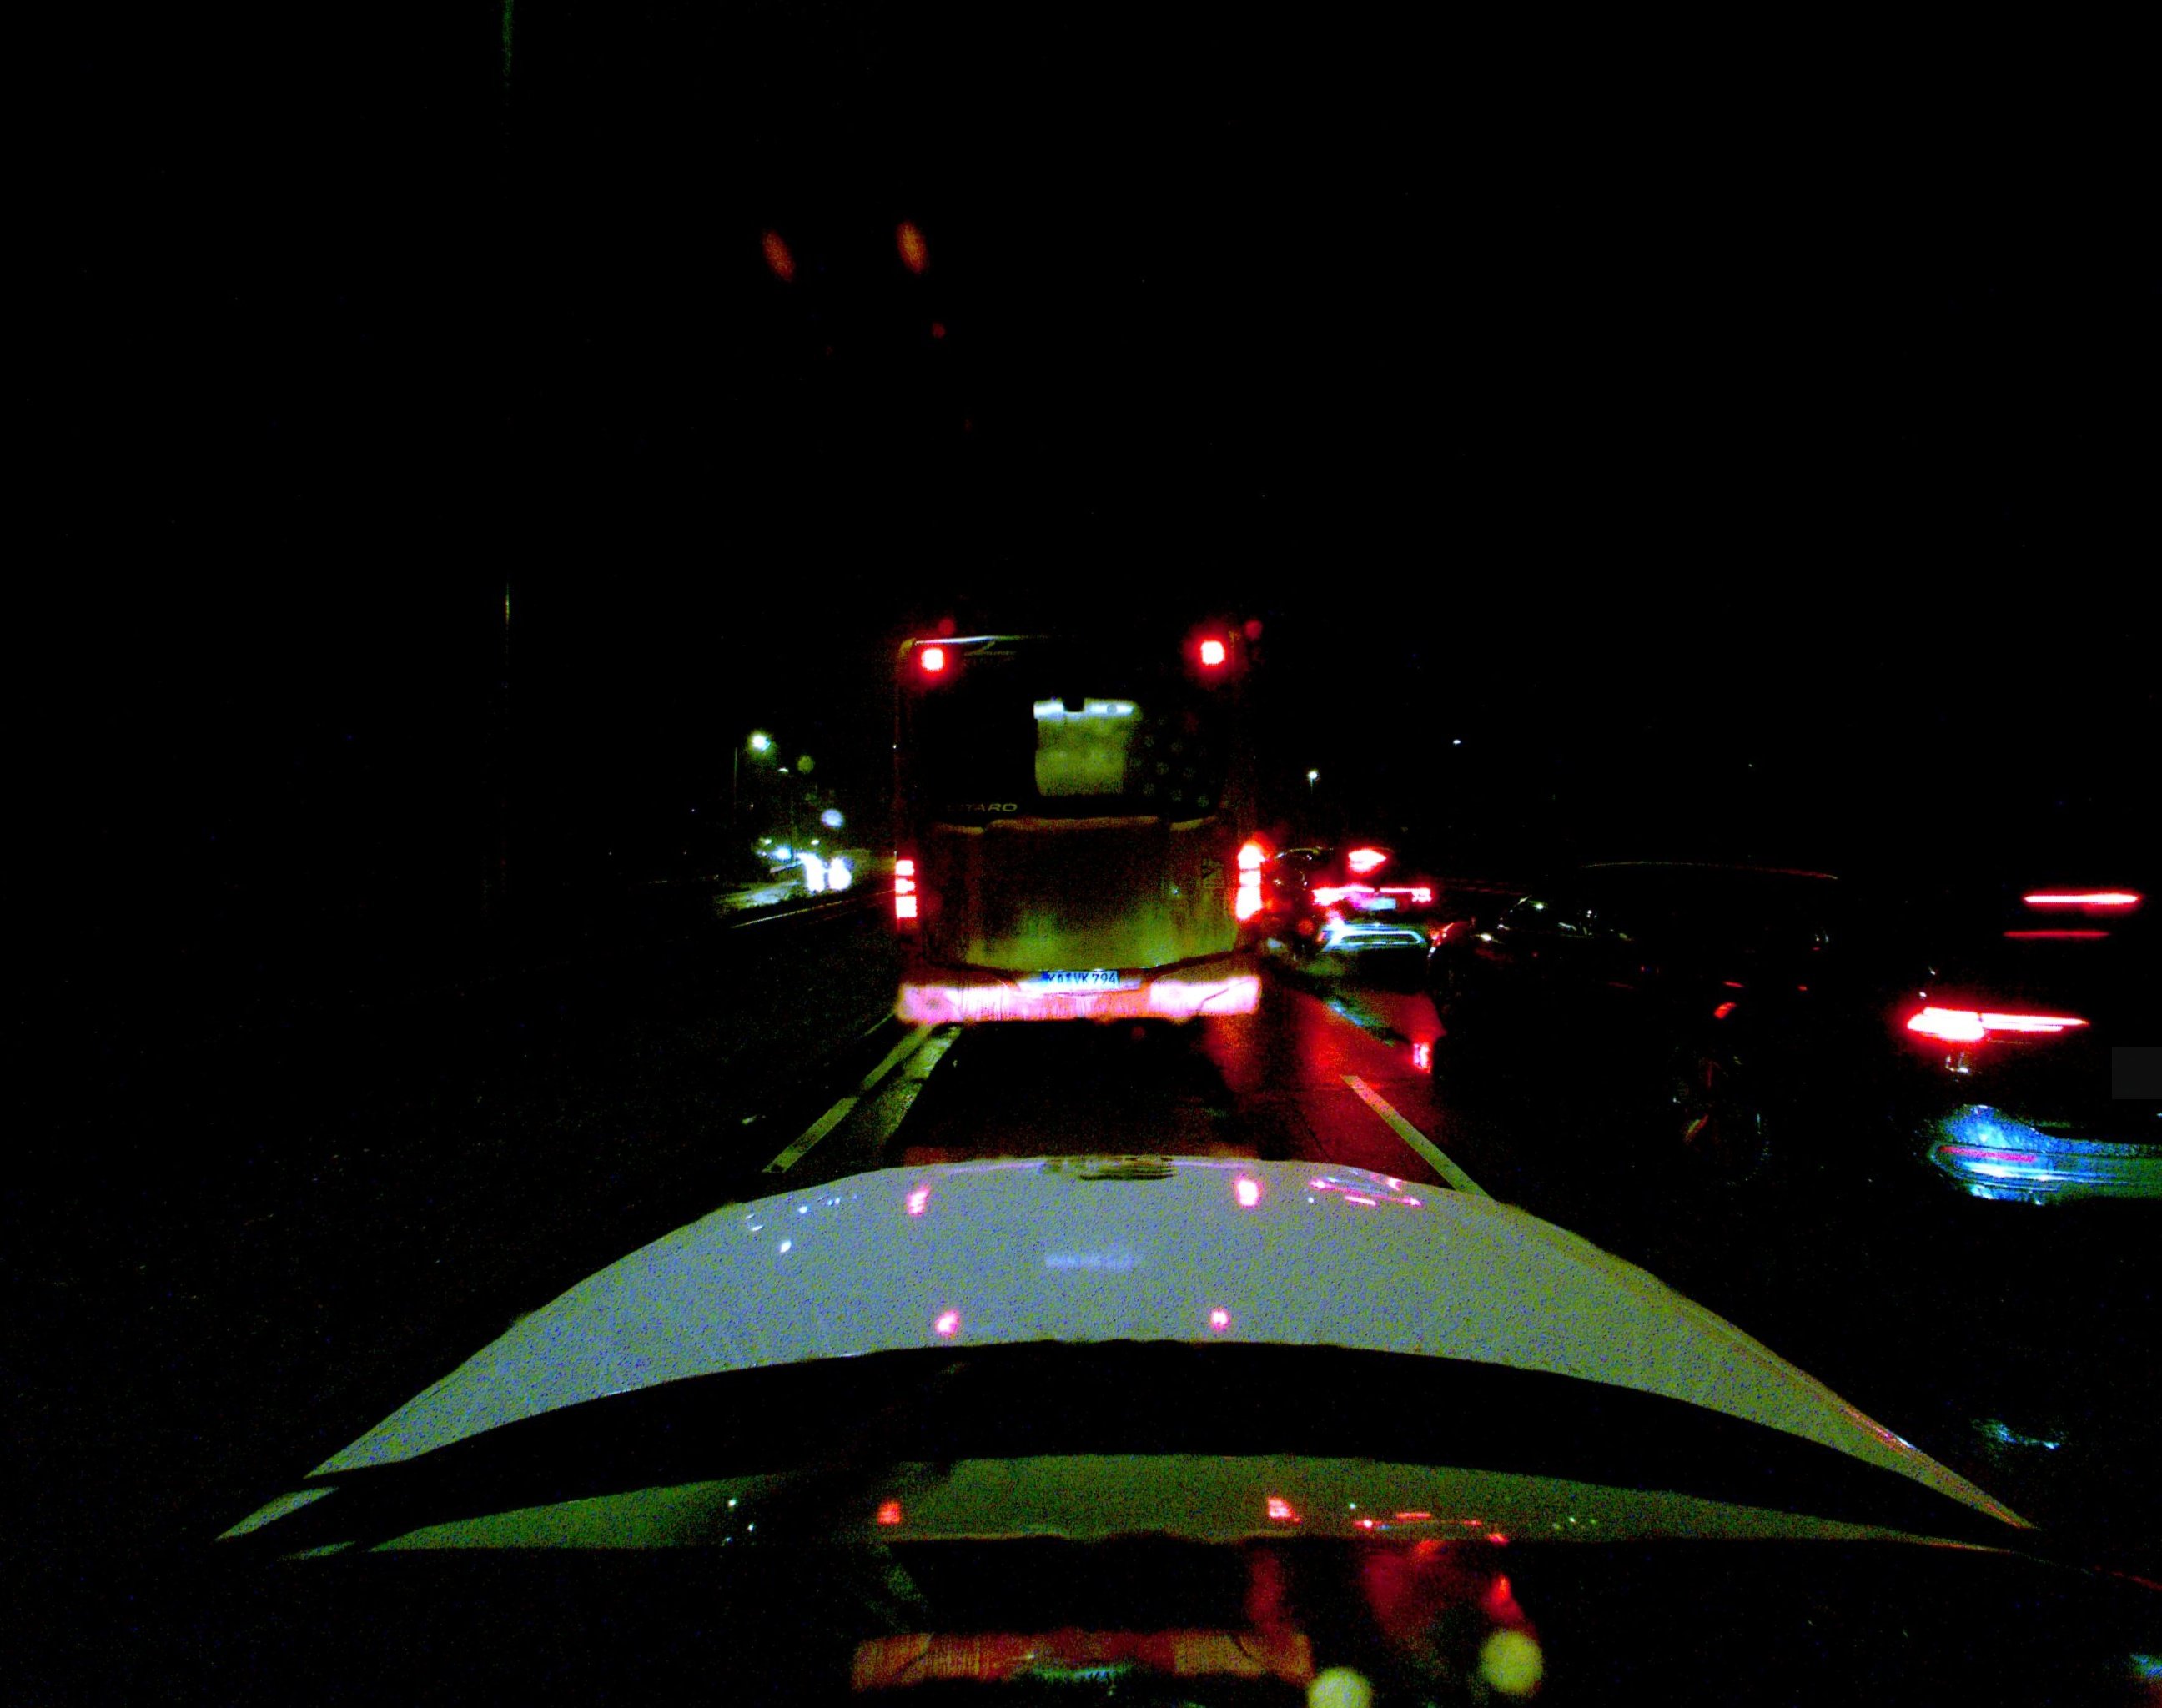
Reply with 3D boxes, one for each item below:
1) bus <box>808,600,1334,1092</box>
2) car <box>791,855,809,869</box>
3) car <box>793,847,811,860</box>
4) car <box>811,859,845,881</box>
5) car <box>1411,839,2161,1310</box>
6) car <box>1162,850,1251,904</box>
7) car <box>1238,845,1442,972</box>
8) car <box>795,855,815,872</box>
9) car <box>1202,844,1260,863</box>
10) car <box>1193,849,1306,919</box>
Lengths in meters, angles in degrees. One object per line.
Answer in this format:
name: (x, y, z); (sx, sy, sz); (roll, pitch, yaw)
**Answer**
bus: (-0.029, -0.157, 9.971); (3.274, 3.050, 9.544); (-2, 1, 0)
car: (-33.464, 0.940, 96.949); (1.773, 1.631, 4.218); (-1, 0, -23)
car: (-30.132, -0.021, 87.925); (1.633, 1.369, 3.695); (0, -1, -22)
car: (-19.397, 1.200, 62.637); (1.995, 1.508, 4.820); (-1, 0, -12)
car: (3.669, 0.669, 4.890); (1.666, 1.506, 4.562); (0, 1, 2)
car: (3.559, 0.634, 23.838); (1.987, 1.441, 3.999); (0, -1, 0)
car: (3.515, 0.676, 11.829); (1.672, 1.521, 3.959); (0, -1, -1)
car: (-27.691, 0.944, 81.728); (1.764, 1.739, 3.972); (0, -1, -20)
car: (12.562, -0.082, 68.507); (4.477, 1.519, 1.853); (0, 2, -6)
car: (3.600, 0.602, 18.039); (1.680, 1.330, 3.960); (-2, 0, 1)
